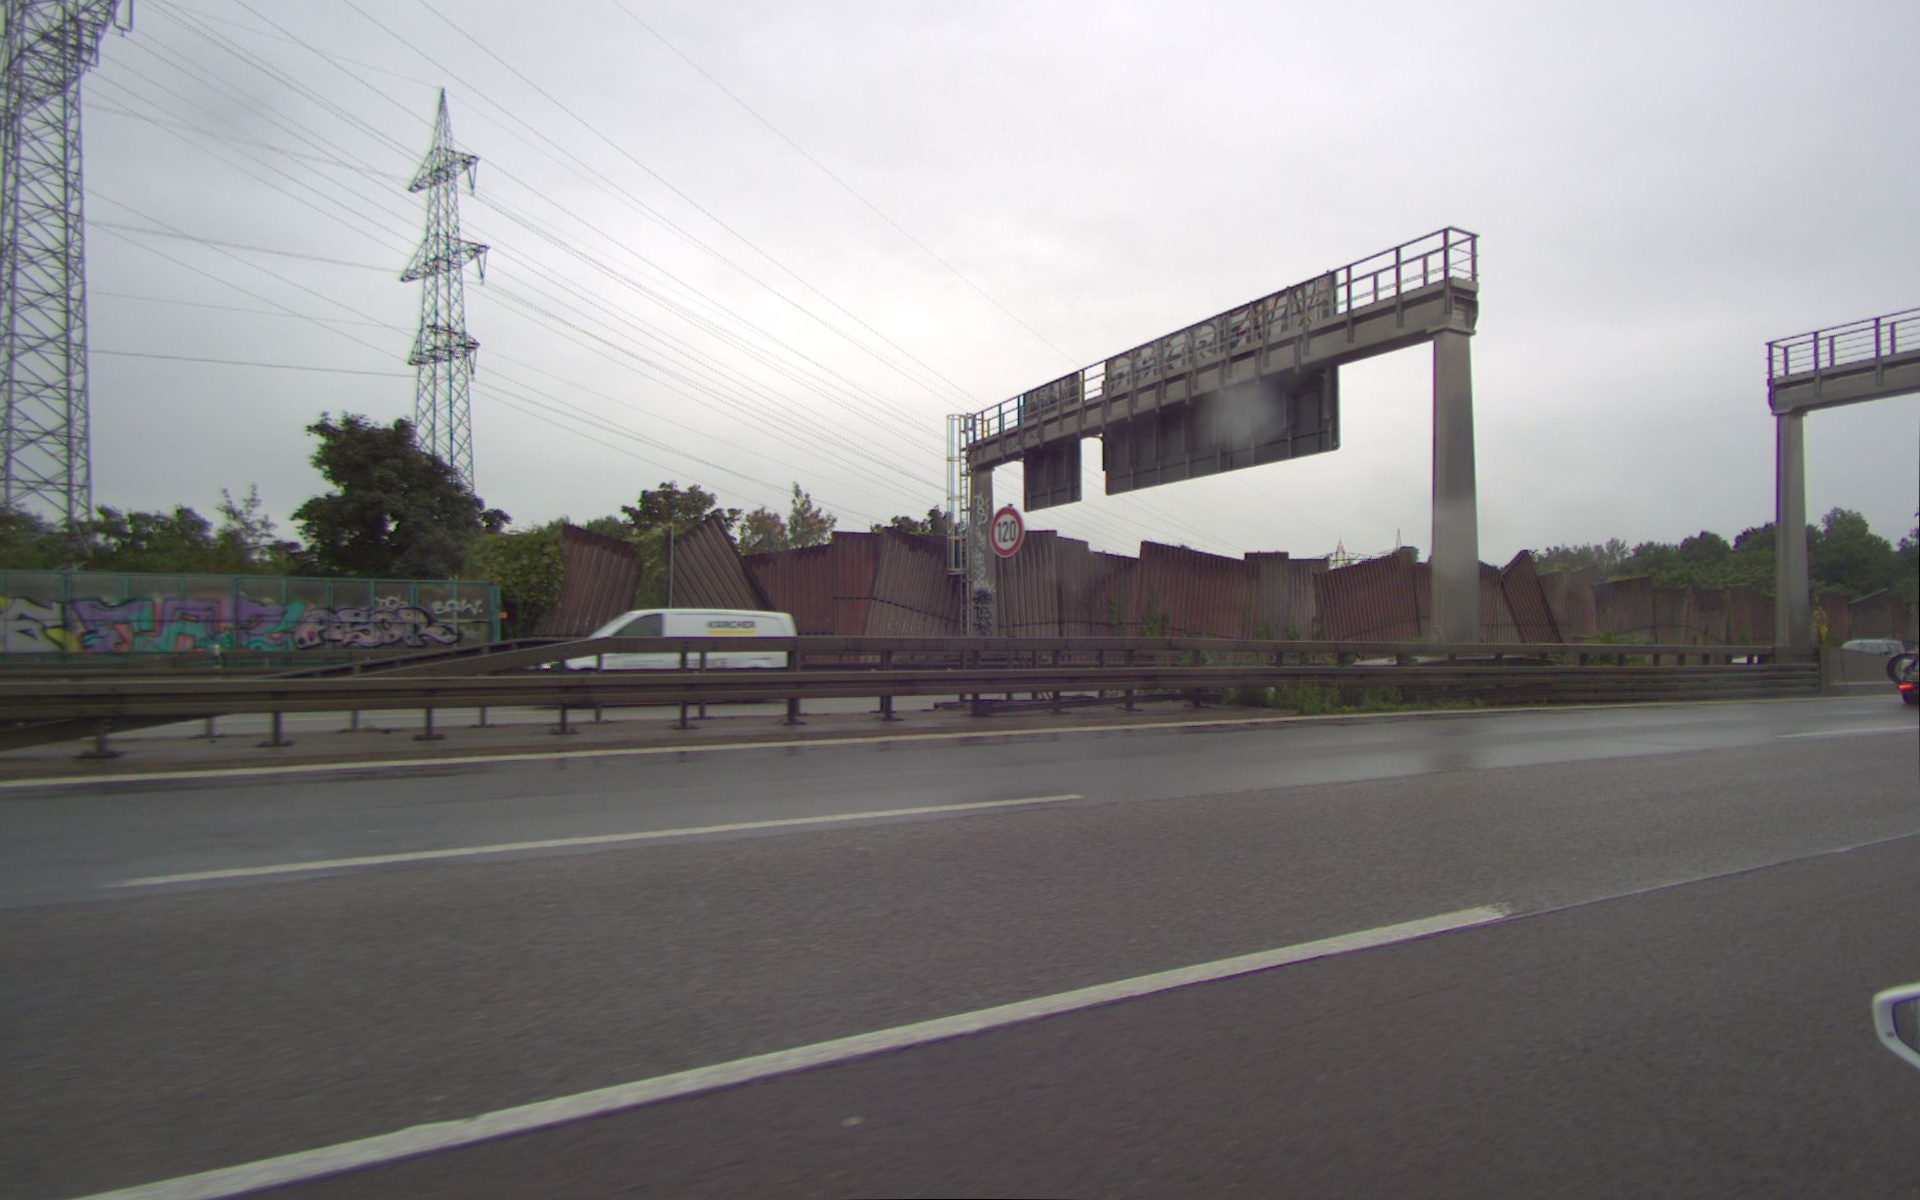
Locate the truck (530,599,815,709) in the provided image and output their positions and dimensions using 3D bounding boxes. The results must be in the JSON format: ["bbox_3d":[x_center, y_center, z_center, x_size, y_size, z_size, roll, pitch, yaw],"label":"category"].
[{"bbox_3d":[-5.685,1.018,20.083,5.187,1.956,1.984,1,-1,-30],"label":"truck"}]

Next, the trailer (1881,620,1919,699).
[{"bbox_3d":[22.042,1.290,21.721,4.512,1.646,1.807,1,-1,-29],"label":"trailer"}]
